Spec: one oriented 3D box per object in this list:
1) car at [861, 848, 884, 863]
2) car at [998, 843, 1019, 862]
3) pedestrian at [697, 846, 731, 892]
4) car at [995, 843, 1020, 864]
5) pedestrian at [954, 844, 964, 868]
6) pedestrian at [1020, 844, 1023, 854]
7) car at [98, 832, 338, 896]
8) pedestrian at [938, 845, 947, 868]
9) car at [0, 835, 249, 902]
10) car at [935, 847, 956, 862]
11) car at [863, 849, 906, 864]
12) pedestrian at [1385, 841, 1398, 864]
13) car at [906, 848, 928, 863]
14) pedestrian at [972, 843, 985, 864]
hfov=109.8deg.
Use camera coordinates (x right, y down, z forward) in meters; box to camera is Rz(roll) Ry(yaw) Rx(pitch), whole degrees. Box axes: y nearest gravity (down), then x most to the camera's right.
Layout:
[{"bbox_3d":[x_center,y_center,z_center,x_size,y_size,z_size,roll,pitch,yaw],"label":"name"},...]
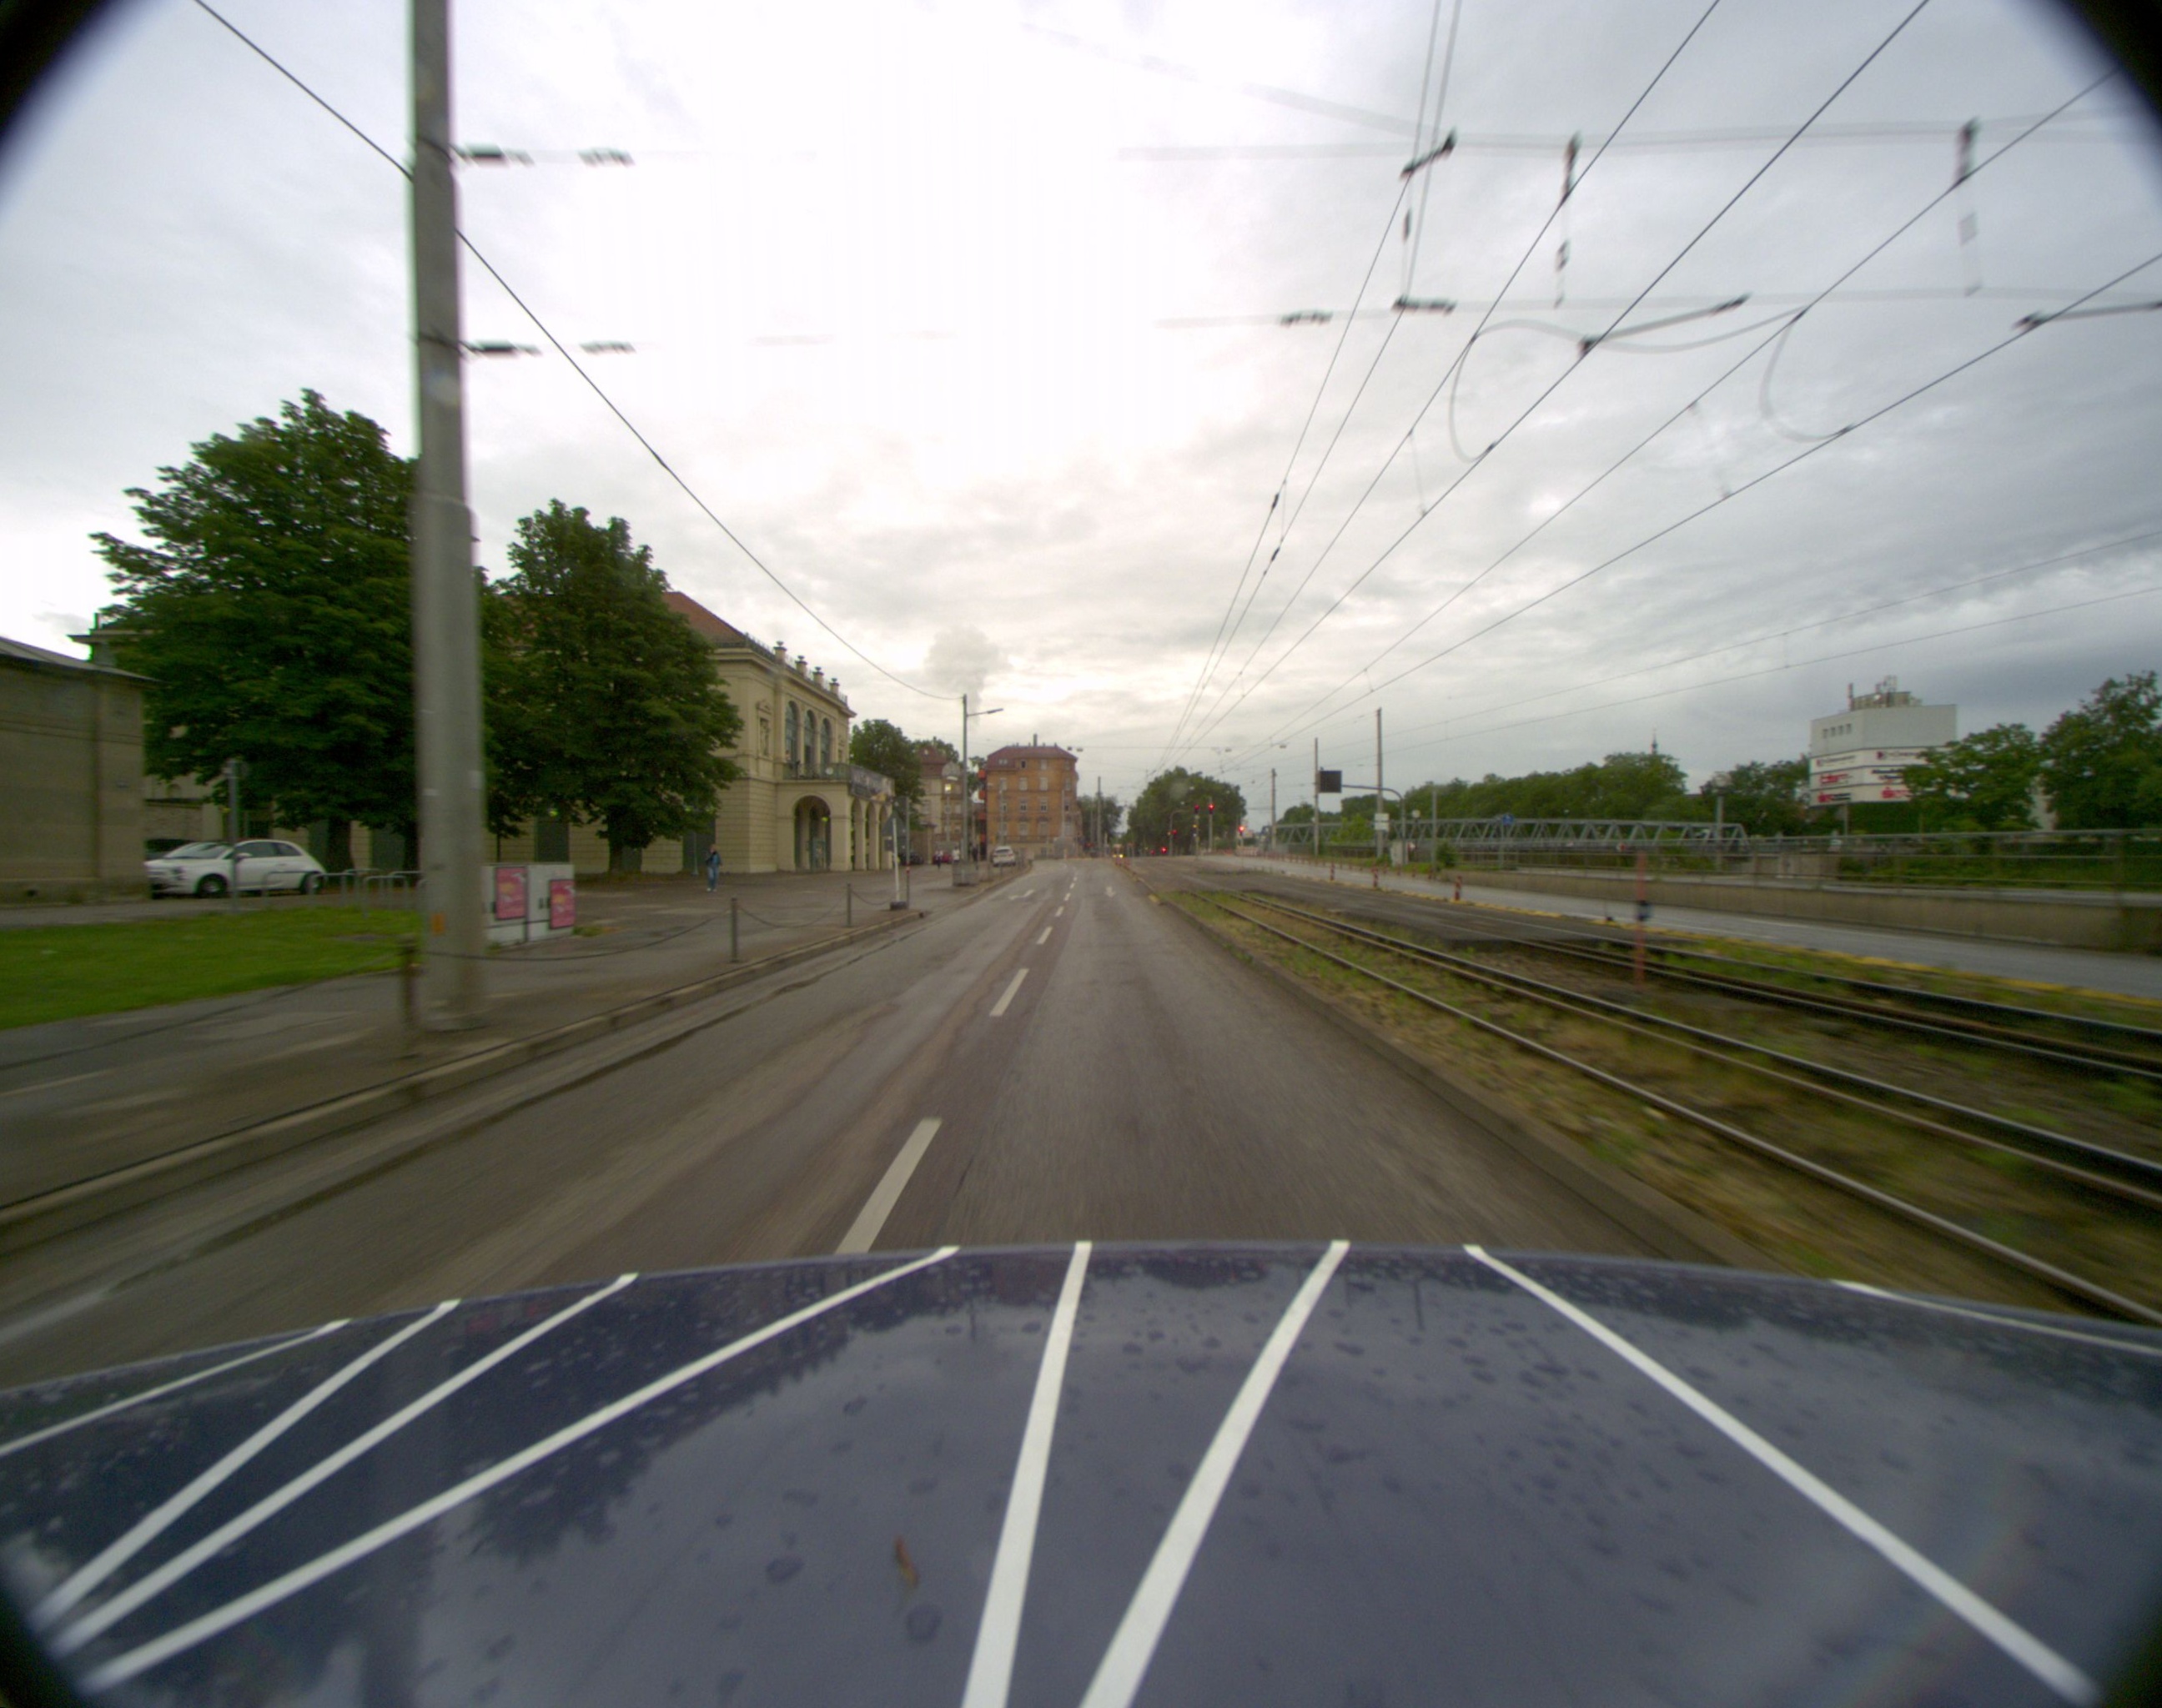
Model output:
[{"bbox_3d":[-23.011,0.170,84.156,1.831,1.573,3.997,0,1,-6],"label":"car"},{"bbox_3d":[-6.710,-0.159,70.090,1.721,1.630,4.139,-4,2,-8],"label":"car"},{"bbox_3d":[-12.880,0.527,26.673,0.863,1.581,0.669,2,1,27],"label":"pedestrian"},{"bbox_3d":[-6.215,-0.062,64.418,1.844,1.630,4.141,-4,1,-3],"label":"car"},{"bbox_3d":[-8.833,0.156,55.109,0.595,1.726,0.839,0,1,-1],"label":"pedestrian"},{"bbox_3d":[-9.678,-0.794,123.491,0.512,1.644,0.534,-1,1,-1],"label":"pedestrian"},{"bbox_3d":[-21.234,0.279,18.950,1.841,1.446,3.599,0,-2,1],"label":"car"},{"bbox_3d":[-10.169,0.170,55.798,0.629,1.635,0.780,0,1,-6],"label":"pedestrian"},{"bbox_3d":[-23.850,0.331,19.033,1.901,1.480,4.184,0,0,-10],"label":"car"},{"bbox_3d":[-14.729,0.043,82.880,1.831,1.573,3.997,0,1,-5],"label":"car"},{"bbox_3d":[-19.026,0.211,73.663,3.742,1.461,1.729,0,1,3],"label":"car"},{"bbox_3d":[23.232,-0.126,56.862,0.766,1.678,0.619,0,1,0],"label":"pedestrian"},{"bbox_3d":[-17.960,0.149,83.191,1.864,1.539,4.063,-1,1,-5],"label":"car"},{"bbox_3d":[-9.012,-0.050,66.777,0.783,1.797,0.696,-3,2,-39],"label":"pedestrian"}]
